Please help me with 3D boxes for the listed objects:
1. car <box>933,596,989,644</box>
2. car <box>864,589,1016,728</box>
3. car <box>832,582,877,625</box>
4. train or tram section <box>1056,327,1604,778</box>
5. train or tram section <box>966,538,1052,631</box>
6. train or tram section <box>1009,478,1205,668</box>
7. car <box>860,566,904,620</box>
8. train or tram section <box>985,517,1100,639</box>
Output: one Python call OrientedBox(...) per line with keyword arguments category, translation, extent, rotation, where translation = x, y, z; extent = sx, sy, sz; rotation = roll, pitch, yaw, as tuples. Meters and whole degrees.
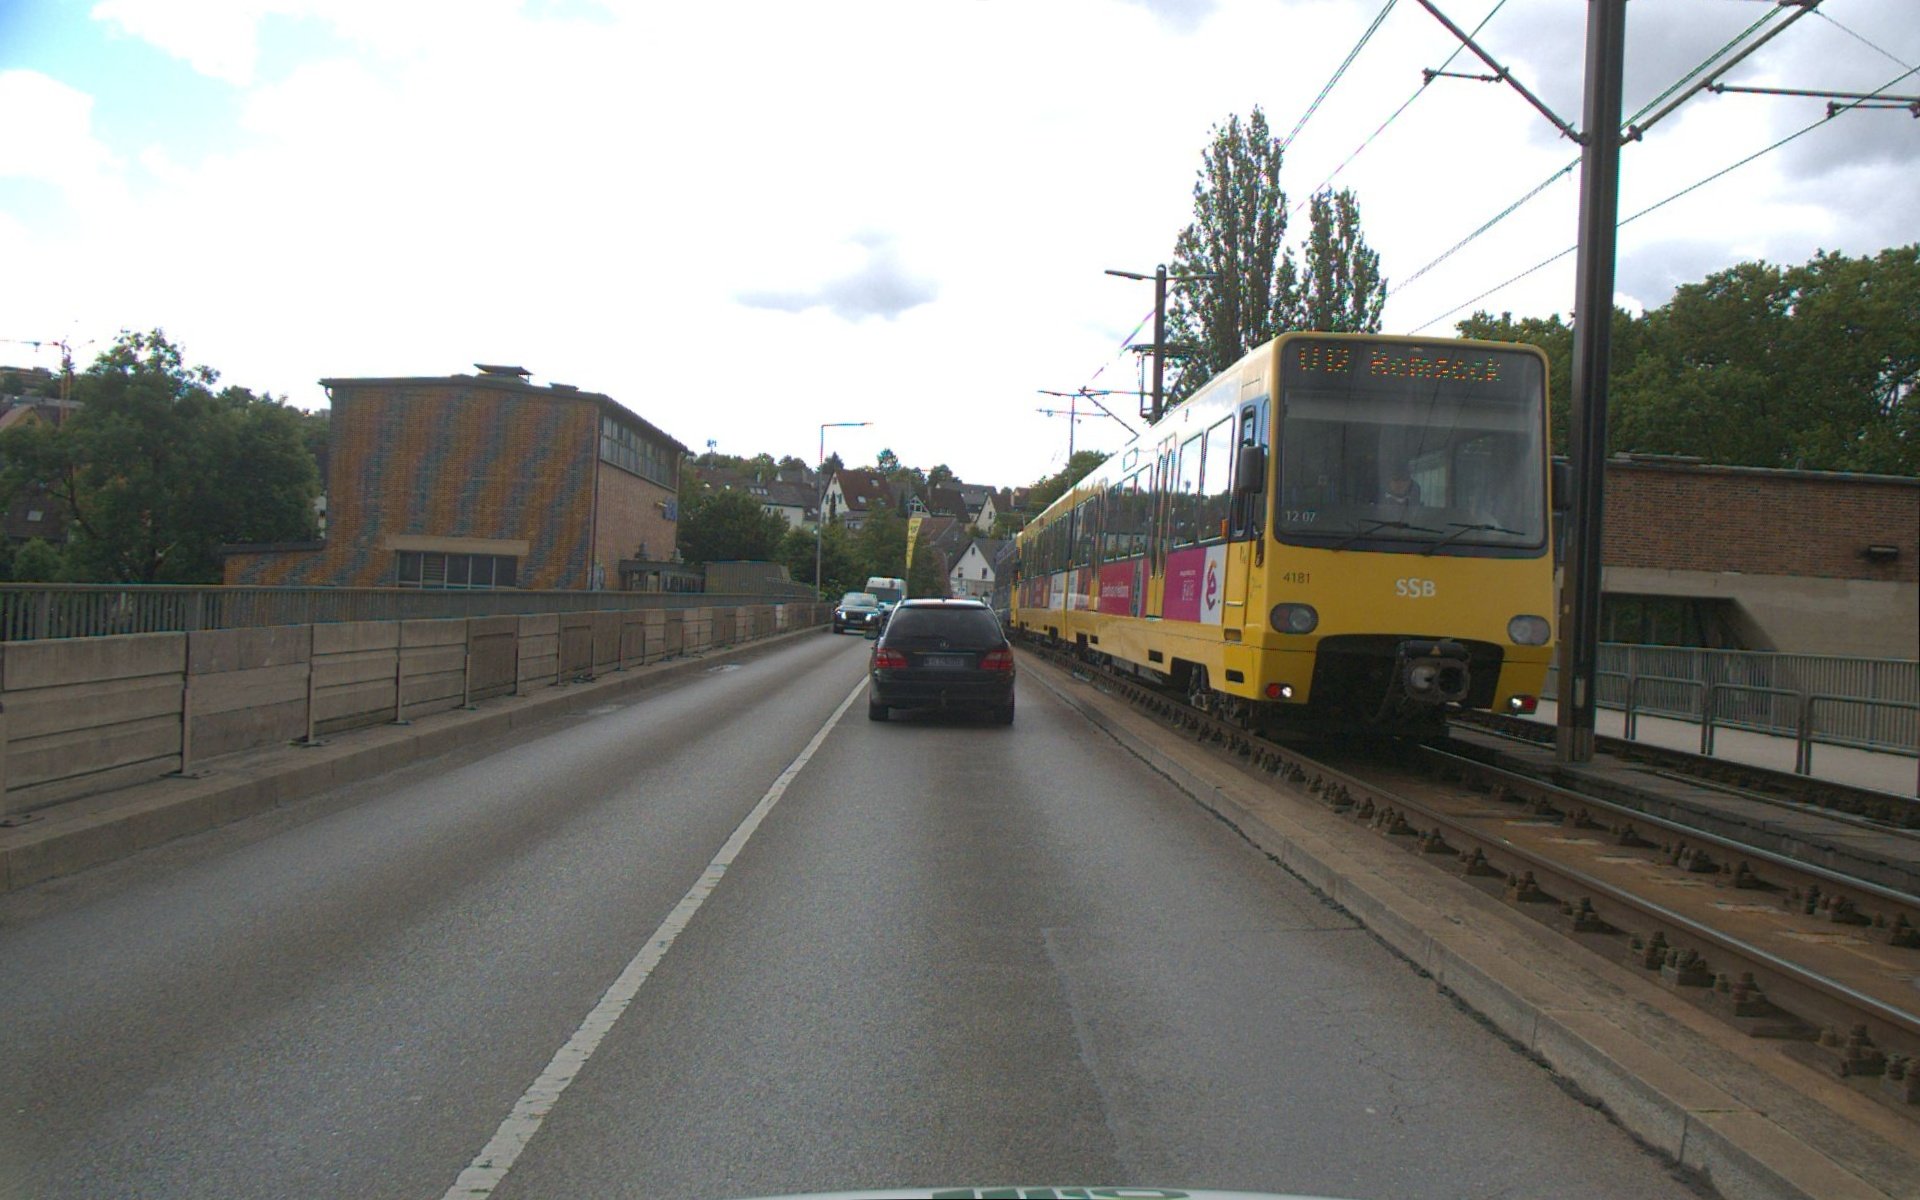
OrientedBox(category="car", translation=(-0.004, 0.660, 58.167), extent=(1.735, 1.582, 4.238), rotation=(1, 0, -3))
OrientedBox(category="car", translation=(-0.297, 0.657, 21.129), extent=(1.723, 1.542, 4.441), rotation=(1, 1, -2))
OrientedBox(category="car", translation=(-4.317, 0.111, 67.866), extent=(1.681, 1.674, 3.999), rotation=(0, 1, -2))
OrientedBox(category="train or tram section", translation=(3.495, -0.452, 22.486), extent=(2.824, 3.570, 18.662), rotation=(0, 0, -1))
OrientedBox(category="train or tram section", translation=(2.112, -0.645, 80.330), extent=(2.737, 3.830, 19.884), rotation=(3, 0, -2))
OrientedBox(category="train or tram section", translation=(3.106, -0.605, 41.161), extent=(2.772, 3.643, 18.662), rotation=(0, 0, -1))
OrientedBox(category="car", translation=(-3.939, -0.383, 84.301), extent=(1.992, 2.605, 7.006), rotation=(1, 1, -1))
OrientedBox(category="train or tram section", translation=(2.666, -0.668, 60.437), extent=(2.728, 3.720, 19.886), rotation=(0, 0, -1))
